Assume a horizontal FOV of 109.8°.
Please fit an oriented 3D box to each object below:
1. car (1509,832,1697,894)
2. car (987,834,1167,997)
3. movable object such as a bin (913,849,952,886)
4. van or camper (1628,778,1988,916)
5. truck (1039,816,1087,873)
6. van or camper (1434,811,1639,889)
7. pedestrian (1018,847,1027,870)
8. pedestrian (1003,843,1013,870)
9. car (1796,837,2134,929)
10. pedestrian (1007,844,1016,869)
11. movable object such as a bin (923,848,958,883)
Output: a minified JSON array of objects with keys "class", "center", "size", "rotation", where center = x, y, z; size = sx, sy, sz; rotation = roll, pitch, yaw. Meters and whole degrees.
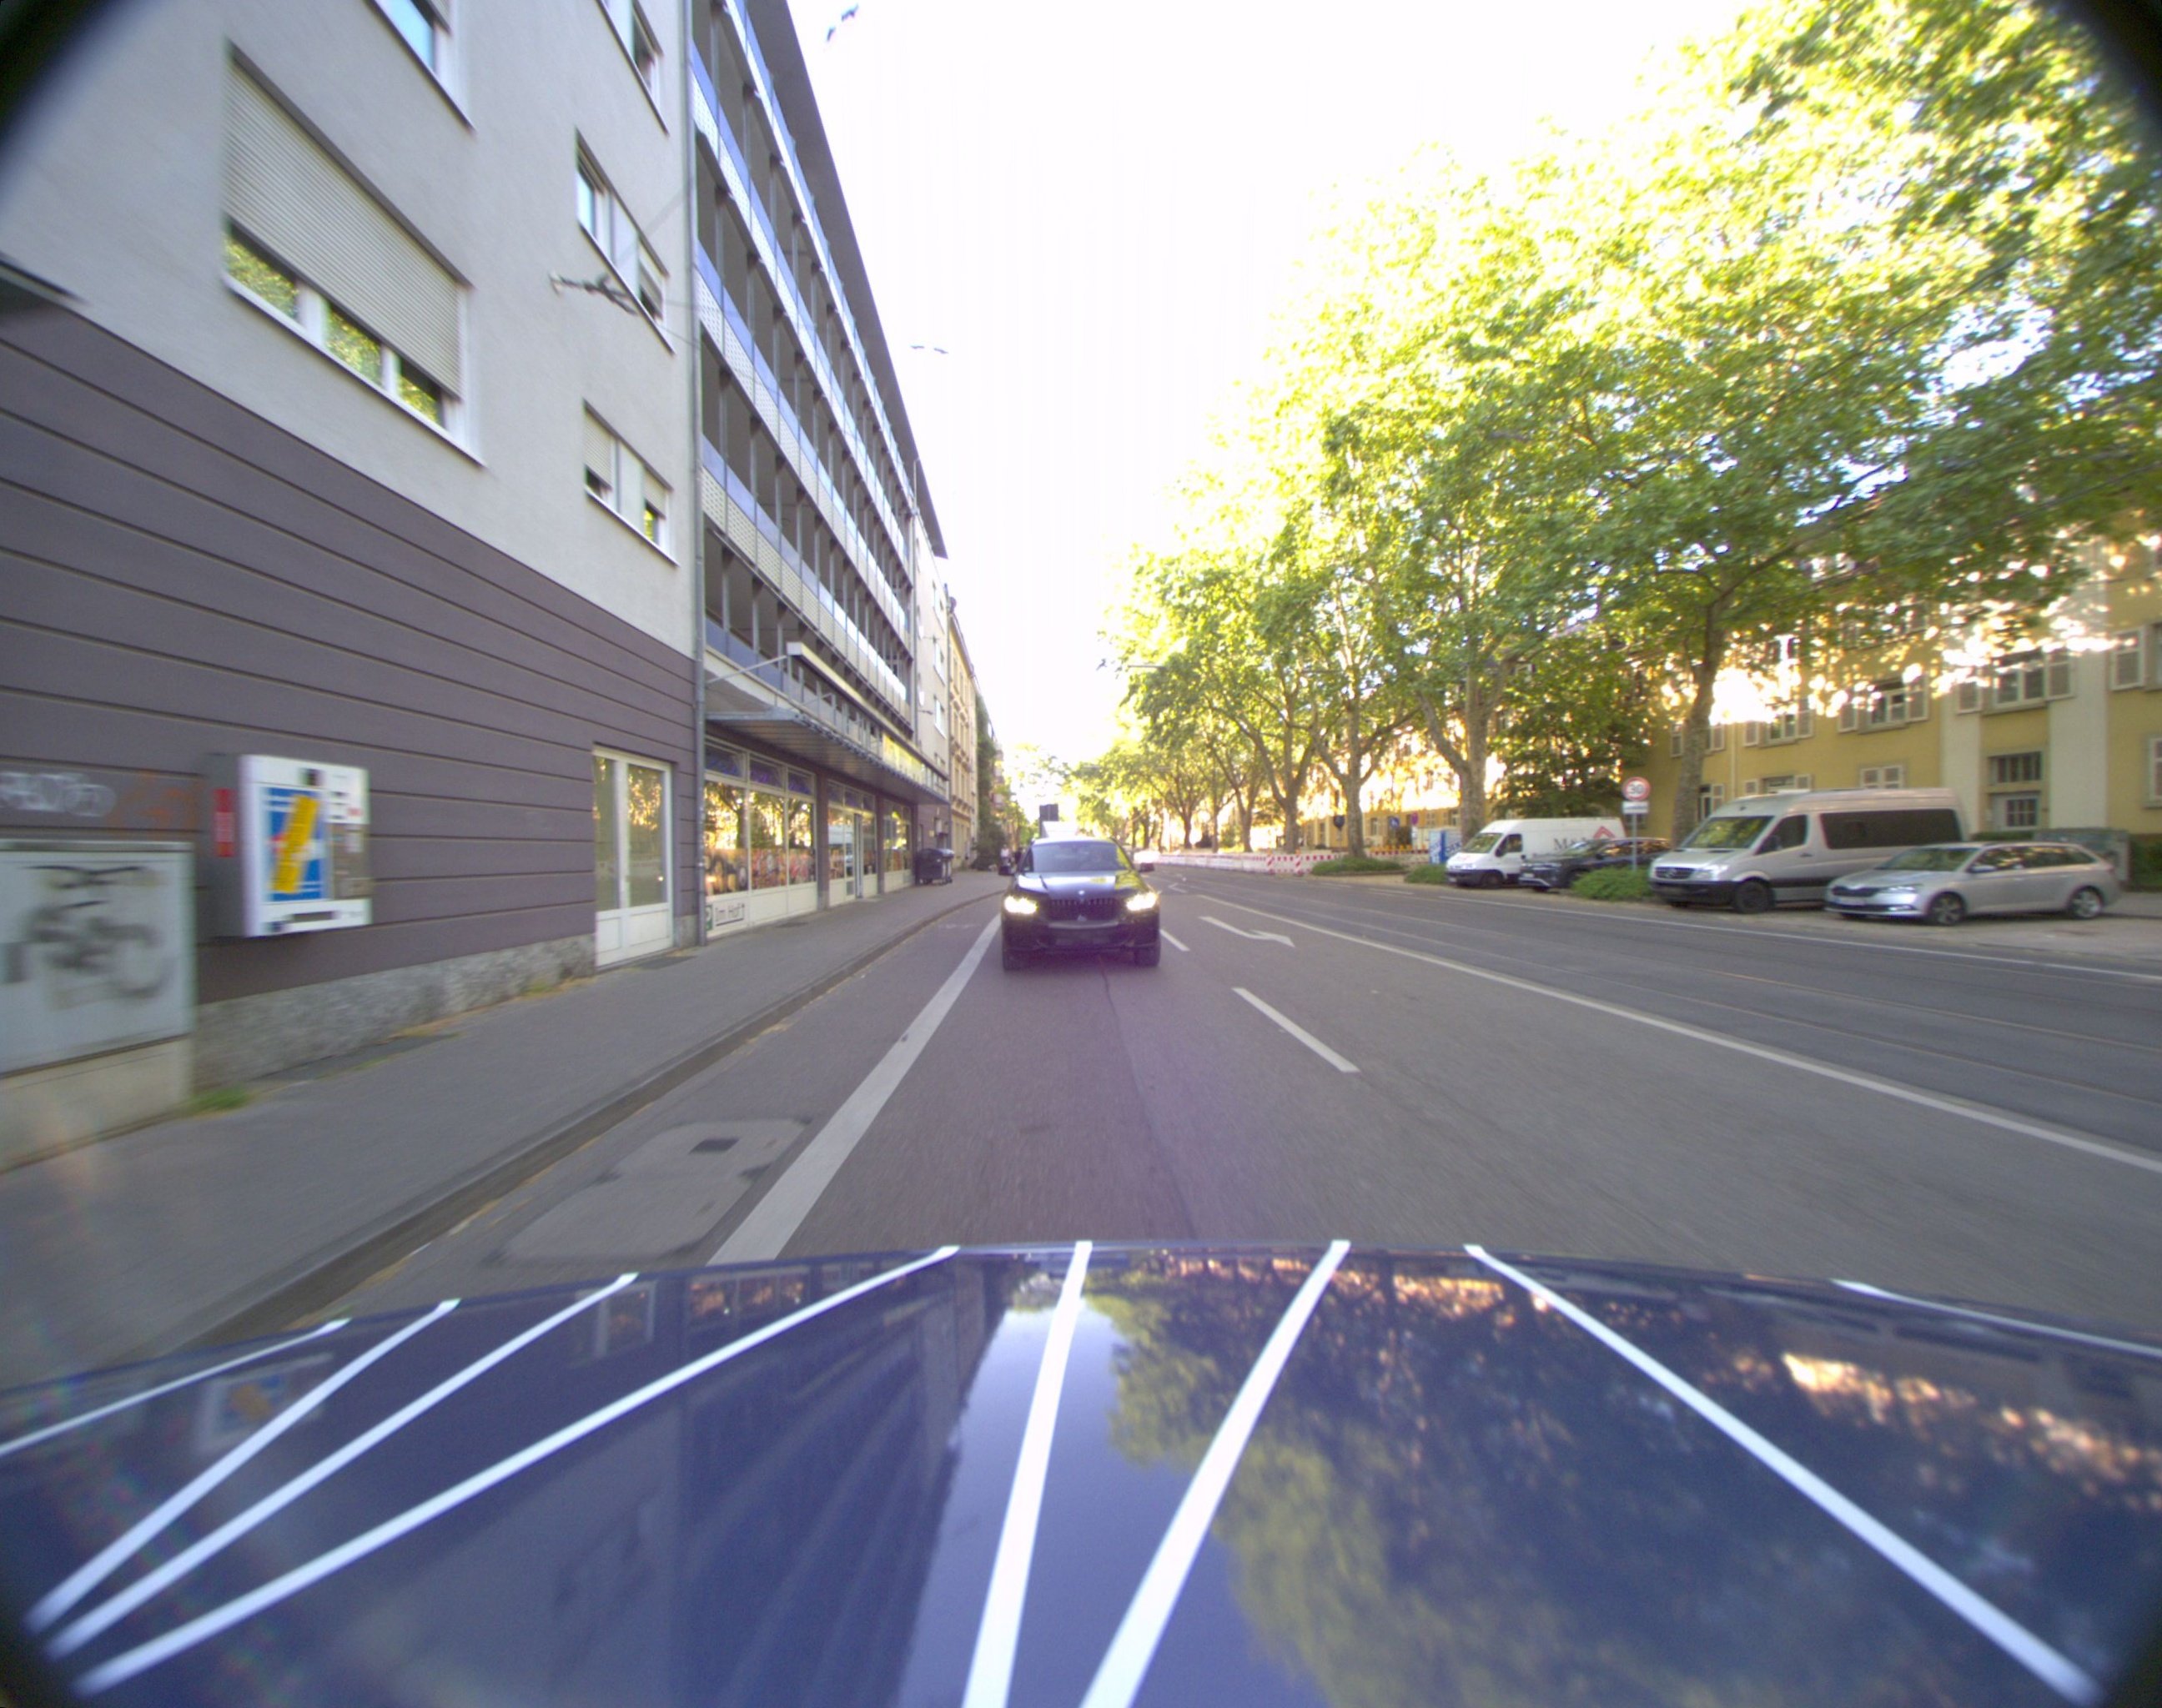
[{"class":"car","center":[15.676,0.239,22.967],"size":[4.540,1.624,1.693],"rotation":[-2,2,0]},{"class":"car","center":[-0.039,0.619,10.769],"size":[1.930,1.742,4.682],"rotation":[-2,2,0]},{"class":"movable object such as a bin","center":[-5.749,0.513,29.529],"size":[1.204,1.402,1.371],"rotation":[-1,1,0]},{"class":"van or camper","center":[15.800,-0.177,16.767],"size":[5.932,2.634,2.155],"rotation":[-2,2,-1]},{"class":"truck","center":[-1.137,-0.621,44.967],"size":[2.344,3.096,5.209],"rotation":[-2,2,-5]},{"class":"van or camper","center":[15.499,-0.175,26.091],"size":[5.763,2.371,2.155],"rotation":[-2,2,-1]},{"class":"pedestrian","center":[-3.726,0.274,48.593],"size":[0.541,1.437,0.630],"rotation":[-1,1,0]},{"class":"pedestrian","center":[-4.692,0.158,48.673],"size":[0.541,1.662,0.630],"rotation":[-1,1,0]},{"class":"car","center":[16.166,0.485,14.062],"size":[4.276,1.438,1.693],"rotation":[-2,2,0]},{"class":"pedestrian","center":[-4.643,0.171,50.714],"size":[0.541,1.662,0.513],"rotation":[-1,1,0]},{"class":"movable object such as a bin","center":[-5.810,0.459,31.526],"size":[1.204,1.402,1.371],"rotation":[-1,1,0]}]
